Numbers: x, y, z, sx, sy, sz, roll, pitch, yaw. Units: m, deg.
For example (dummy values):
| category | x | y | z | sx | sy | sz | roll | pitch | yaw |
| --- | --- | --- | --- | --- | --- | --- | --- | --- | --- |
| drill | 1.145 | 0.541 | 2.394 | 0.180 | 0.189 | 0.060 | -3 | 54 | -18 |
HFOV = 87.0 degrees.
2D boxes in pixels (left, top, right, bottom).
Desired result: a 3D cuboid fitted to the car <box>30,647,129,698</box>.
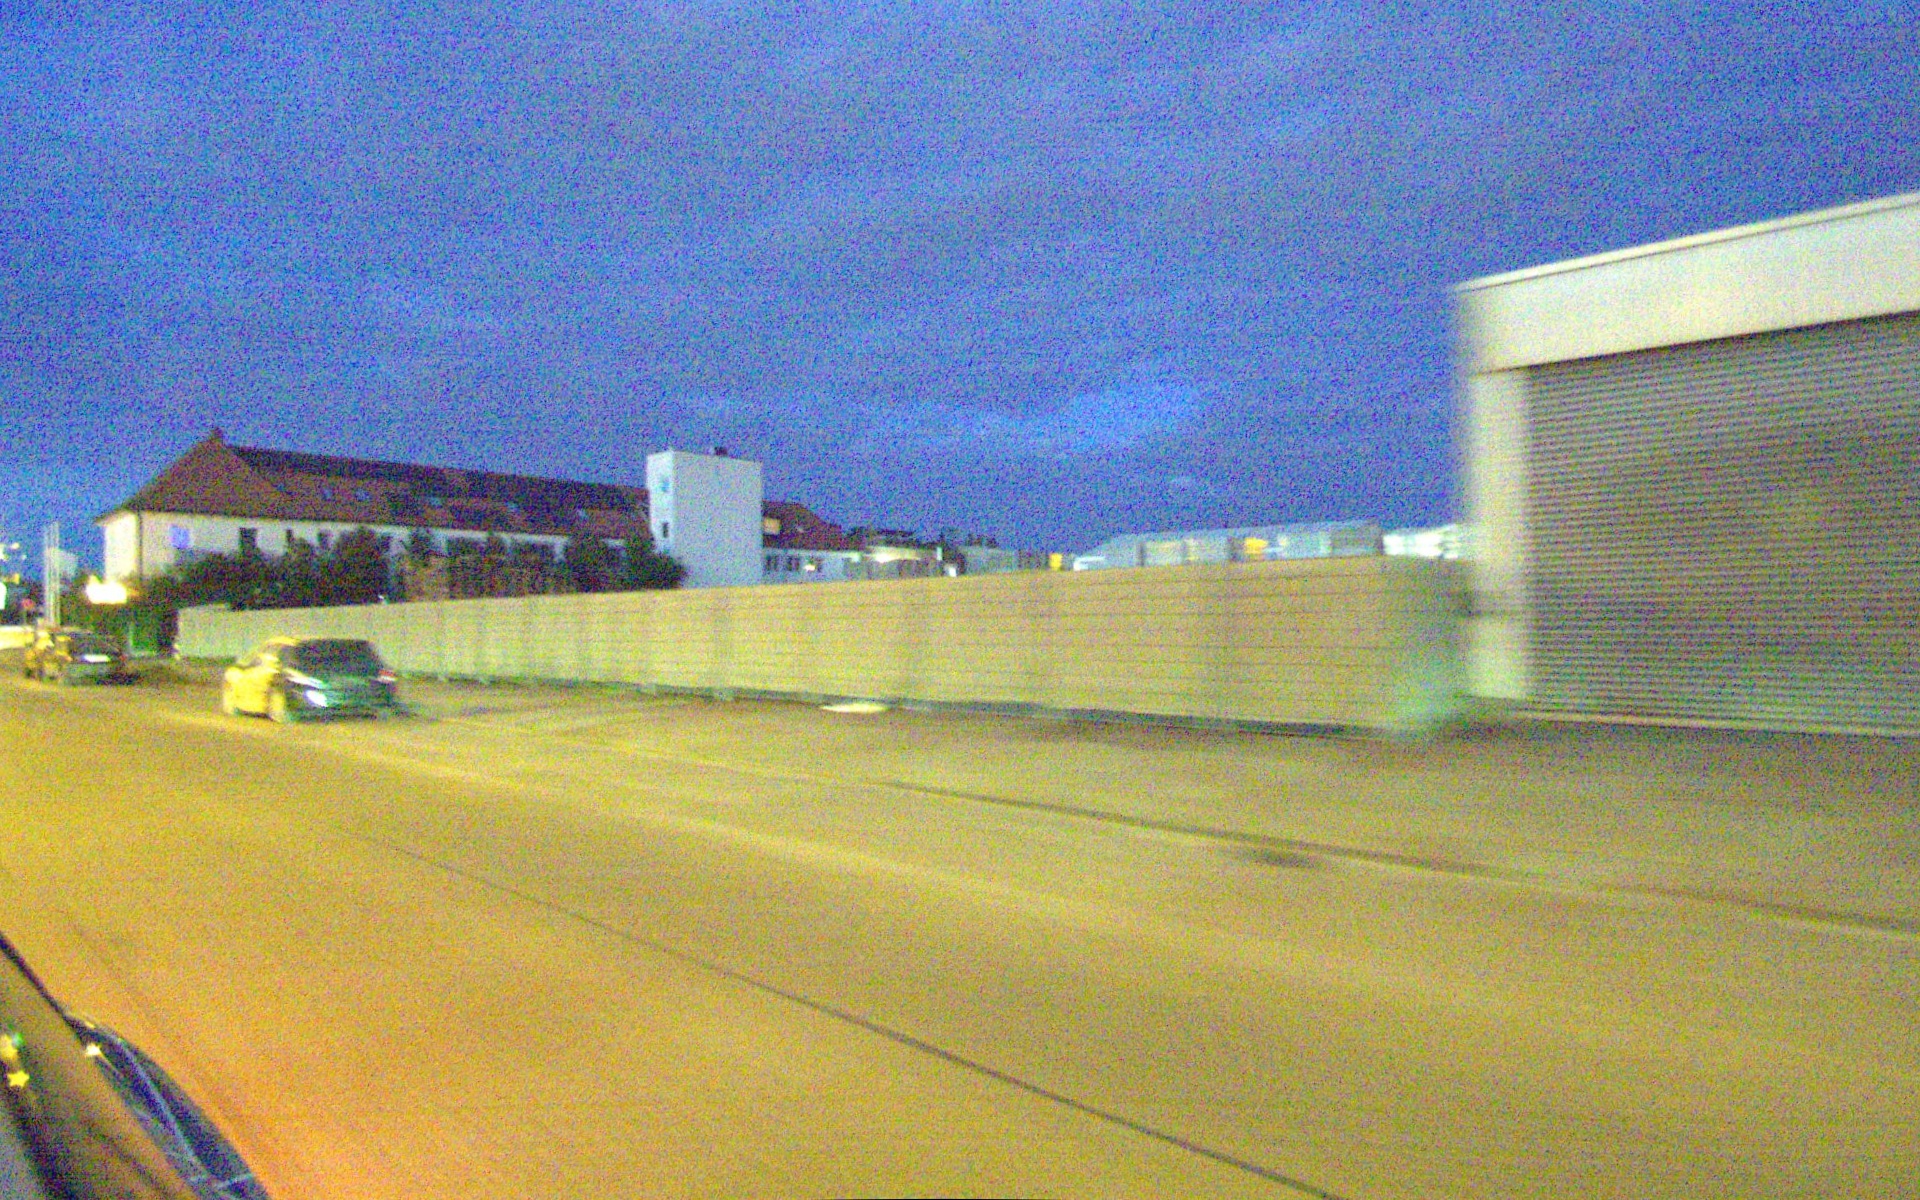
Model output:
| category | x | y | z | sx | sy | sz | roll | pitch | yaw |
| --- | --- | --- | --- | --- | --- | --- | --- | --- | --- |
| car | -26.036 | 2.084 | 29.883 | 3.996 | 1.364 | 1.586 | -2 | -2 | 40 |

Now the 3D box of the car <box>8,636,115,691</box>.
| category | x | y | z | sx | sy | sz | roll | pitch | yaw |
| --- | --- | --- | --- | --- | --- | --- | --- | --- | --- |
| car | -29.794 | 2.036 | 33.516 | 4.770 | 1.649 | 1.973 | -2 | -1 | 40 |

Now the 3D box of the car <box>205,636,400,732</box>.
| category | x | y | z | sx | sy | sz | roll | pitch | yaw |
| --- | --- | --- | --- | --- | --- | --- | --- | --- | --- |
| car | -11.422 | 1.372 | 17.497 | 3.998 | 1.431 | 1.822 | -2 | -2 | 41 |
